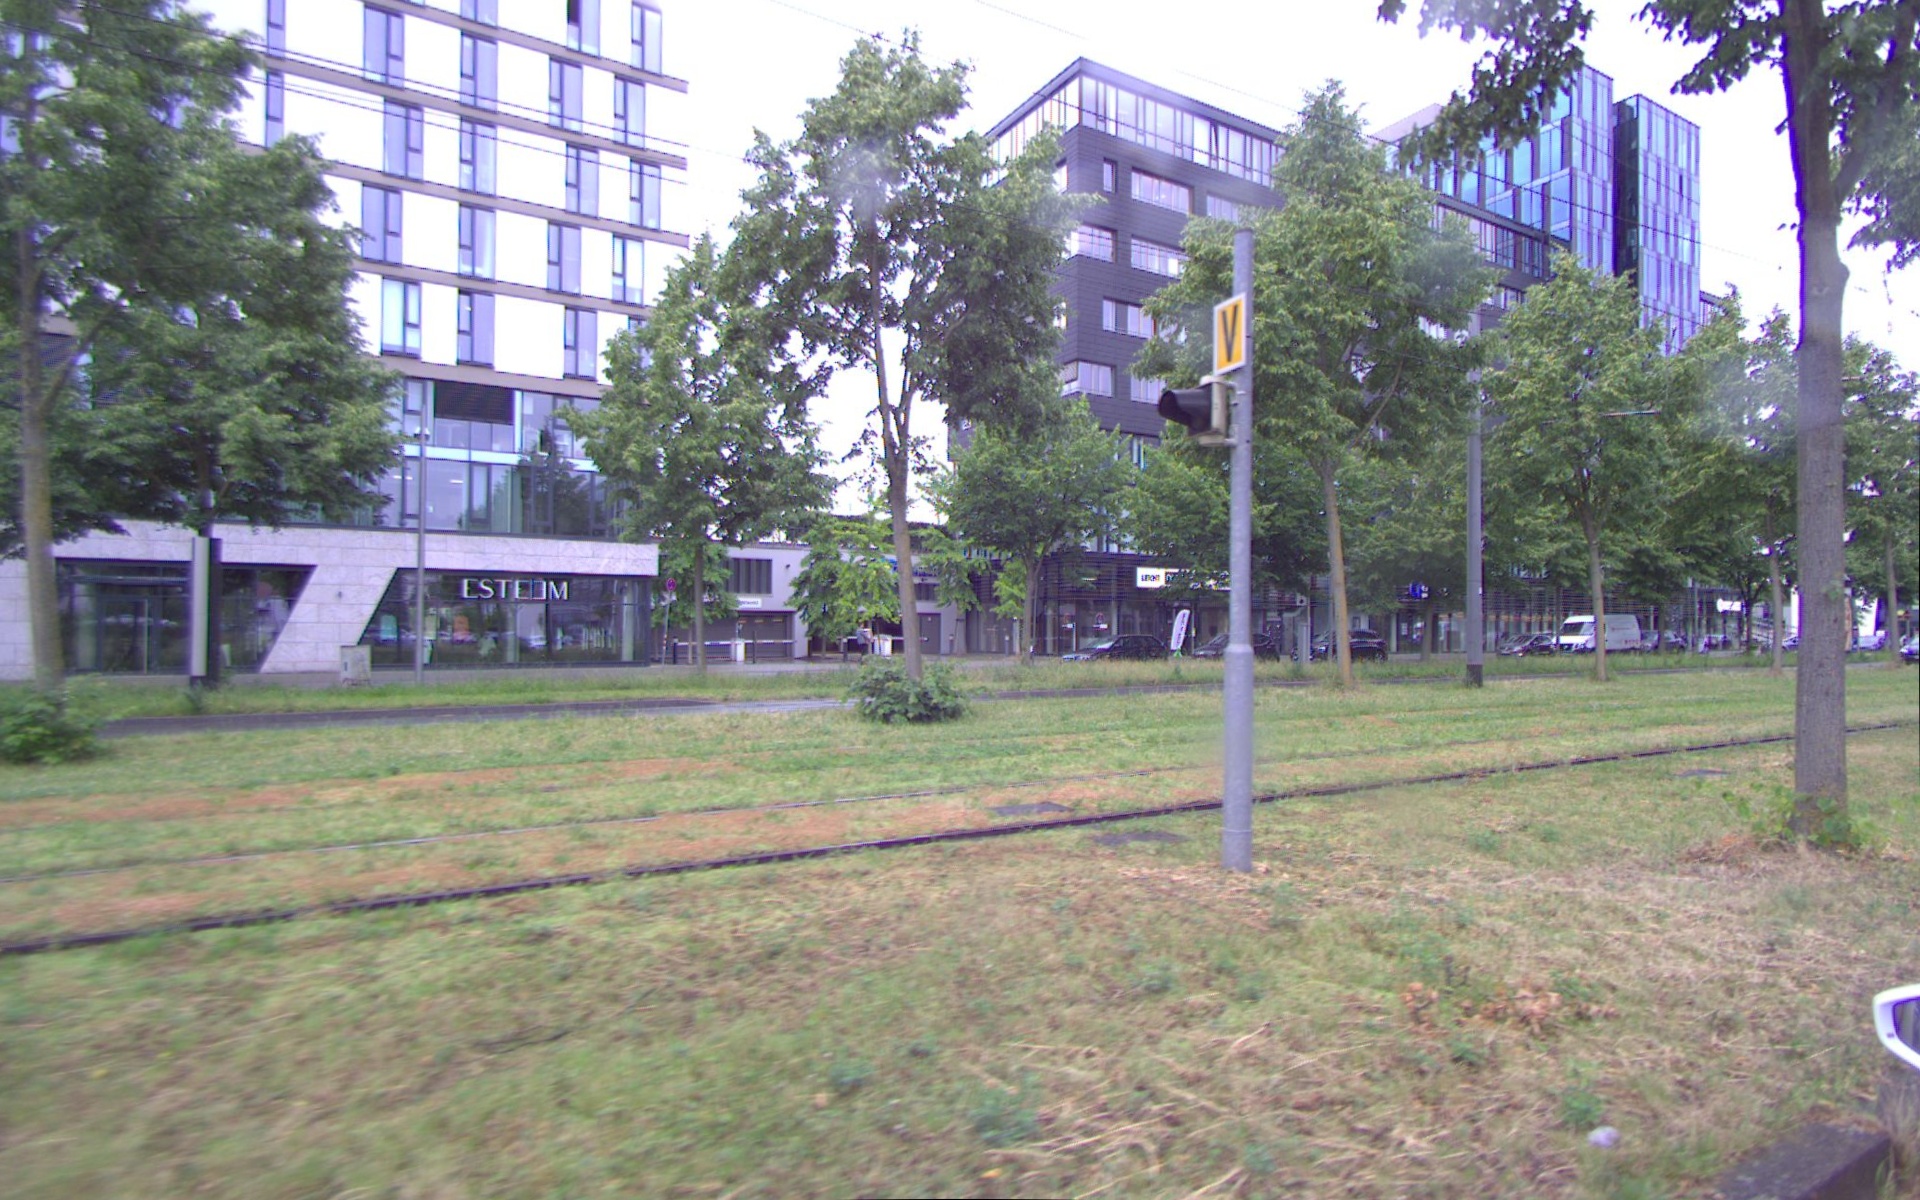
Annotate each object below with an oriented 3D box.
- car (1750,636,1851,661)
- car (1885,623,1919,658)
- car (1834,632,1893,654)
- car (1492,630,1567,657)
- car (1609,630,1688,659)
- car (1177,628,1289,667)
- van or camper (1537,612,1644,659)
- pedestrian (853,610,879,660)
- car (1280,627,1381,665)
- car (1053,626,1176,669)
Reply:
[{"bbox_3d":[54.249,3.113,64.948,4.589,1.541,2.000,0,-1,20],"label":"car"},{"bbox_3d":[44.228,1.856,45.769,4.427,1.544,1.854,1,-2,-31],"label":"car"},{"bbox_3d":[64.599,3.067,71.827,4.556,1.541,1.983,1,-1,-32],"label":"car"},{"bbox_3d":[31.236,2.385,55.112,4.135,1.396,1.808,1,-1,-31],"label":"car"},{"bbox_3d":[38.069,2.438,55.513,4.556,1.541,1.983,1,-1,-32],"label":"car"},{"bbox_3d":[10.550,1.822,38.769,3.954,1.396,1.984,1,-1,-31],"label":"car"},{"bbox_3d":[32.993,1.838,52.507,5.782,2.346,2.421,1,-1,-31],"label":"van or camper"},{"bbox_3d":[-3.829,1.437,40.938,0.844,2.007,0.793,1,-1,-23],"label":"pedestrian"},{"bbox_3d":[15.378,1.888,41.619,4.192,1.468,1.693,1,-1,-31],"label":"car"},{"bbox_3d":[5.448,1.637,35.391,3.954,1.396,1.984,1,-1,-31],"label":"car"}]
